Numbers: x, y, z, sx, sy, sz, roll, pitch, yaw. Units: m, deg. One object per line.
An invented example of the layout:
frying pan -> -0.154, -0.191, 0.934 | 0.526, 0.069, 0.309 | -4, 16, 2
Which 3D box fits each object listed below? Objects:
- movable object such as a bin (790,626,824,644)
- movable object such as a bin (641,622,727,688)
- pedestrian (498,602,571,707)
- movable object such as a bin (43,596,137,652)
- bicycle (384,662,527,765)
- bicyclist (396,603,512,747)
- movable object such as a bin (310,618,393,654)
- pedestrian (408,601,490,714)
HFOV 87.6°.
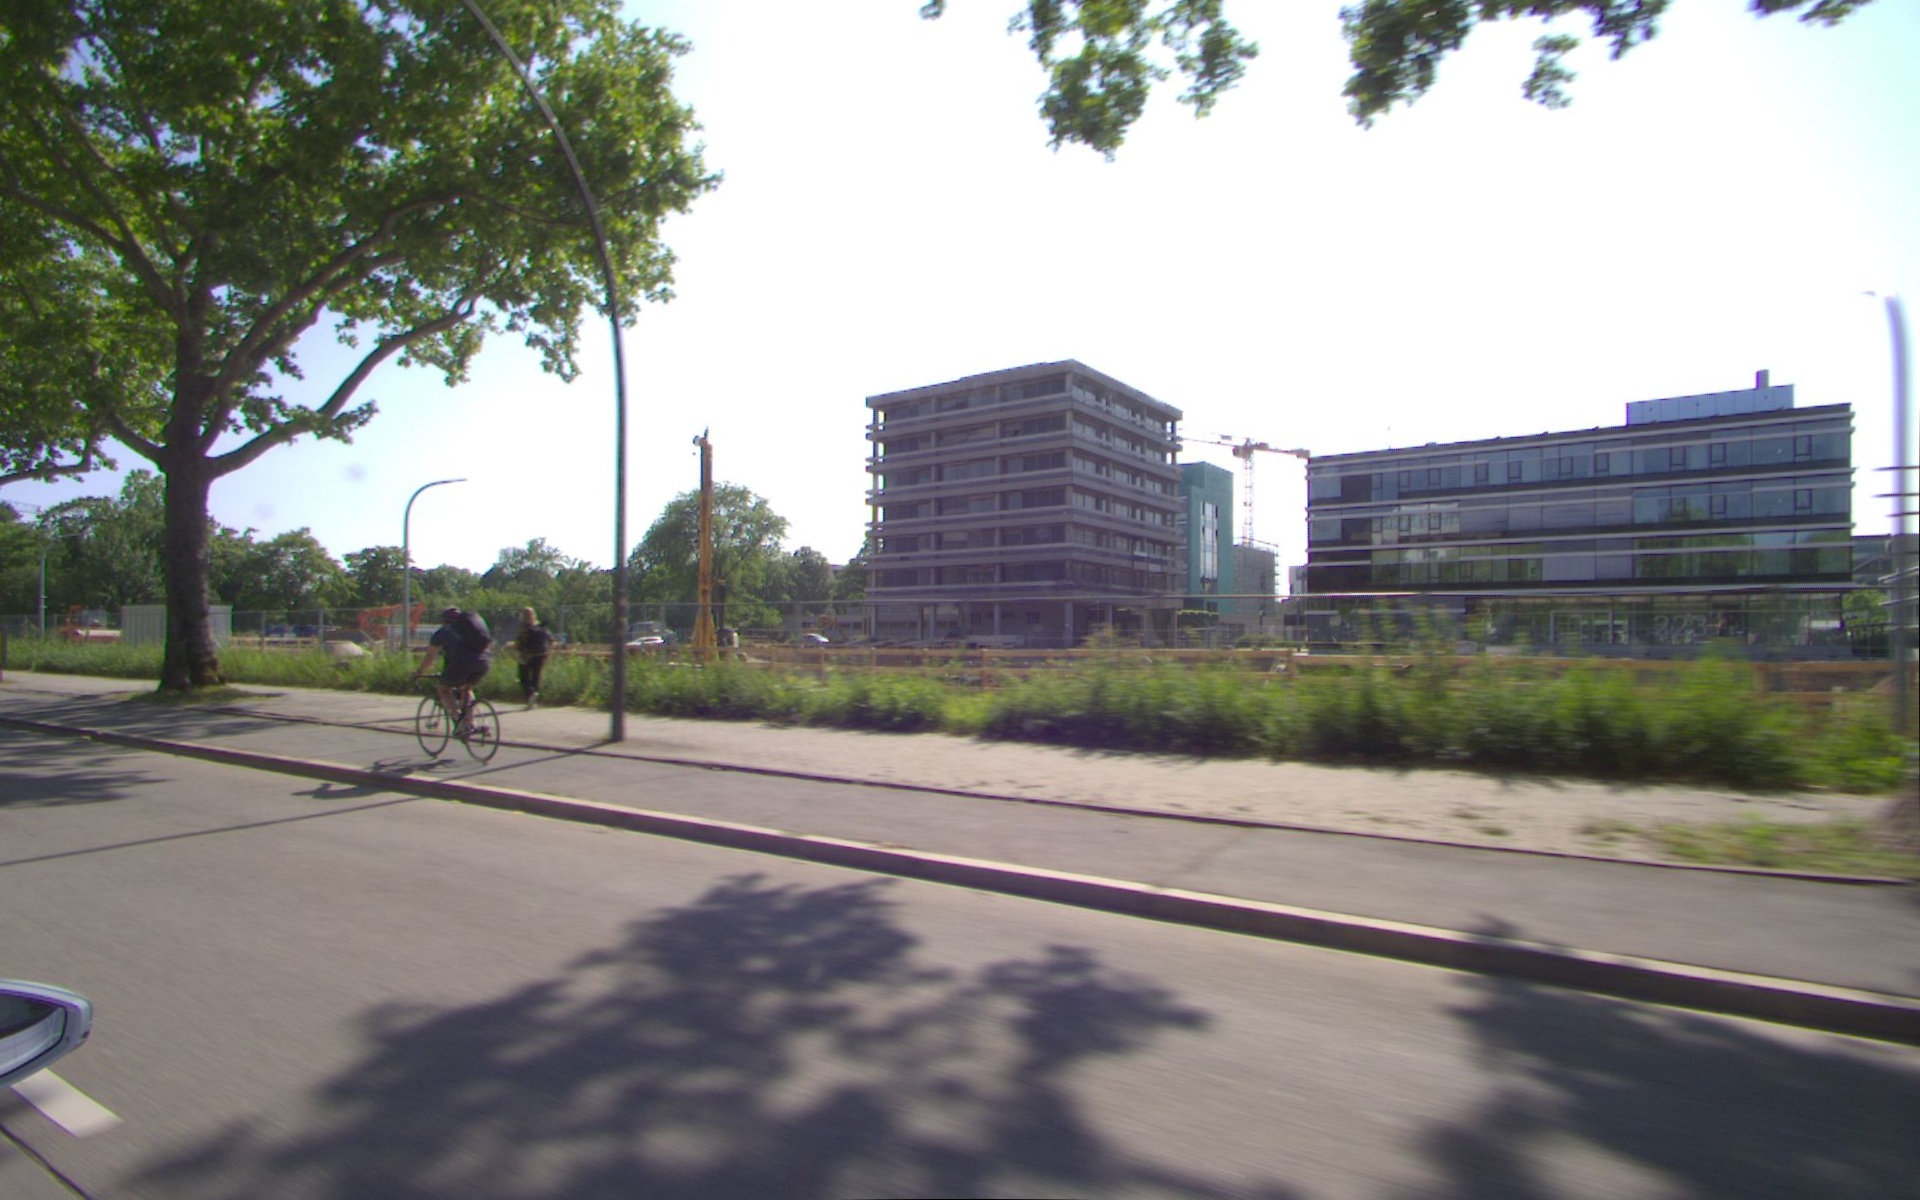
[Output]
movable object such as a bin -> -17.214, 3.931, 112.804 | 2.631, 2.039, 2.746 | -1, -2, 33
movable object such as a bin -> -23.761, 4.752, 87.246 | 6.634, 5.241, 11.768 | 1, -3, -13
pedestrian -> -7.185, 0.908, 16.911 | 0.945, 1.704, 0.694 | 0, -2, 32
movable object such as a bin -> -50.316, 1.404, 57.907 | 5.898, 3.110, 2.367 | 0, -2, 31
bicycle -> -5.629, 1.226, 11.133 | 1.756, 0.993, 0.596 | 0, 1, 33
bicyclist -> -5.619, 0.795, 11.114 | 1.197, 1.509, 0.597 | 0, 1, 32
movable object such as a bin -> -52.006, 3.131, 85.711 | 3.249, 3.012, 5.166 | -1, -3, 34
pedestrian -> -8.205, 0.903, 16.071 | 1.051, 1.746, 0.709 | 0, -2, 32
